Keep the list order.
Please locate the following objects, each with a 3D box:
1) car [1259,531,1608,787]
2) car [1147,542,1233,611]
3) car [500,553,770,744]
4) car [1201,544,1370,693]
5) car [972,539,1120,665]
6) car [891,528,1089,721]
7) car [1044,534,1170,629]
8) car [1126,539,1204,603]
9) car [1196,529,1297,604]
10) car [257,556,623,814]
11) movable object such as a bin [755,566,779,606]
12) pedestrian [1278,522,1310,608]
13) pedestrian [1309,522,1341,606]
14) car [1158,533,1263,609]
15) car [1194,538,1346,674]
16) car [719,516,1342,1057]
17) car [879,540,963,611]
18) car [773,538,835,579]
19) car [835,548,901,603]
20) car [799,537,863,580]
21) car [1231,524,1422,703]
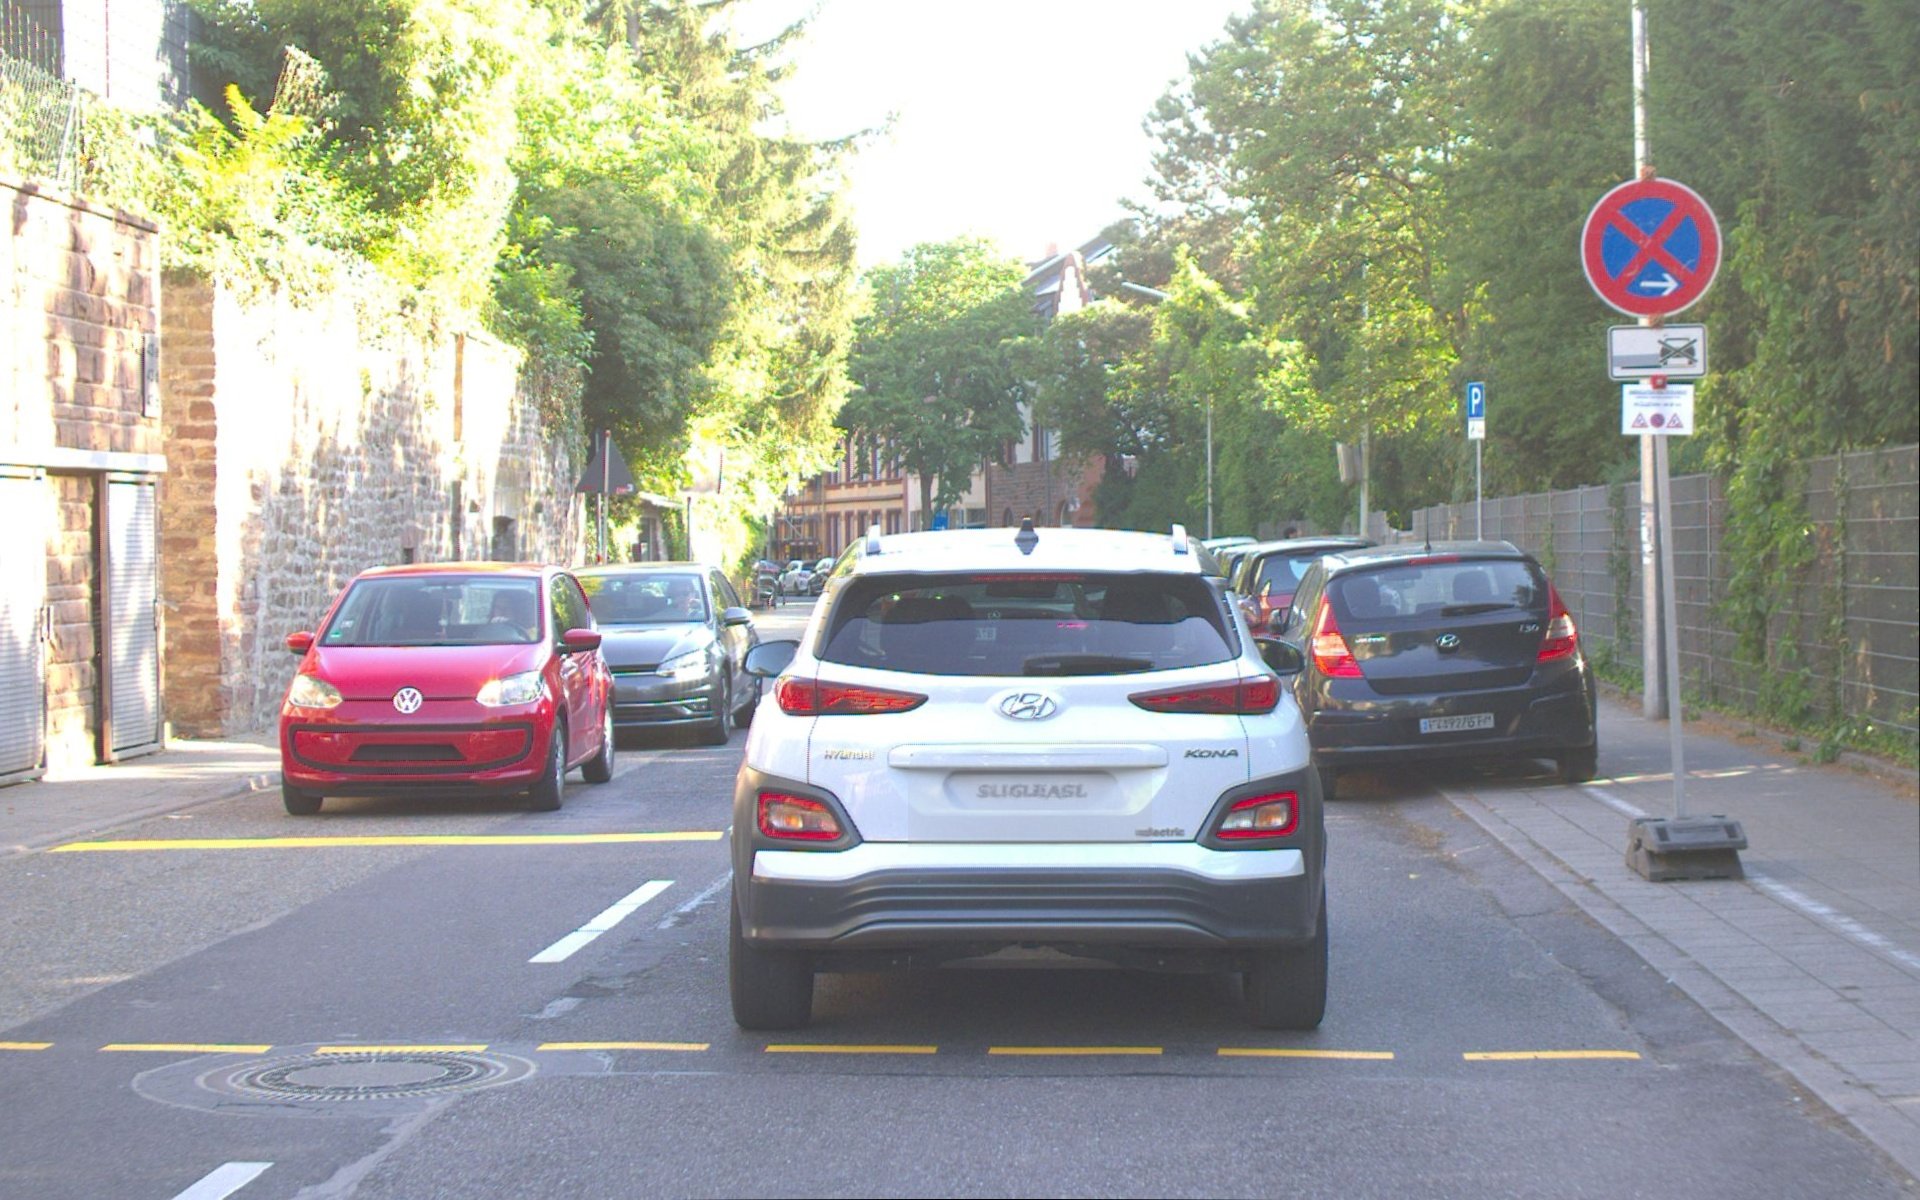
[{"bbox_3d":[2.872,0.303,21.597,1.794,1.436,4.000,-1,1,3],"label":"car"},{"bbox_3d":[5.379,-0.551,80.803,1.593,1.514,3.933,-3,0,-1],"label":"car"},{"bbox_3d":[-2.556,0.342,27.851,1.649,1.406,3.930,-1,1,2],"label":"car"},{"bbox_3d":[3.574,0.153,37.969,1.711,1.492,4.813,1,1,5],"label":"car"},{"bbox_3d":[1.094,-0.007,42.368,1.571,1.472,3.547,1,1,5],"label":"car"},{"bbox_3d":[0.305,0.164,29.322,1.512,1.528,3.547,-1,1,3],"label":"car"},{"bbox_3d":[2.494,-0.342,57.695,1.694,1.528,3.880,0,1,9],"label":"car"},{"bbox_3d":[5.133,-0.740,86.416,1.593,1.484,3.602,-3,1,-1],"label":"car"},{"bbox_3d":[5.862,-0.704,70.695,1.686,1.426,4.000,-3,1,0],"label":"car"},{"bbox_3d":[-3.100,0.456,21.127,1.627,1.417,3.563,-1,1,1],"label":"car"},{"bbox_3d":[-4.974,-0.362,88.684,0.495,1.008,1.112,1,0,3],"label":"movable object such as a bin"},{"bbox_3d":[6.329,-0.665,65.104,0.503,1.601,0.491,-3,0,3],"label":"pedestrian"},{"bbox_3d":[6.900,-0.681,65.028,0.503,1.564,0.503,-3,0,3],"label":"pedestrian"},{"bbox_3d":[5.486,-0.629,75.769,1.593,1.560,4.001,-3,0,-5],"label":"car"},{"bbox_3d":[3.760,0.047,42.066,1.625,1.504,2.903,-3,1,2],"label":"car"},{"bbox_3d":[0.194,0.507,11.800,1.772,1.537,4.000,0,1,0],"label":"car"},{"bbox_3d":[-0.834,-0.549,75.125,1.550,1.461,3.568,-2,1,3],"label":"car"},{"bbox_3d":[-6.471,-1.710,141.864,1.755,1.611,4.001,1,1,-14],"label":"car"},{"bbox_3d":[-2.708,-0.705,100.042,1.741,1.469,4.000,-4,0,-3],"label":"car"},{"bbox_3d":[-5.155,-1.662,136.968,1.755,1.611,4.001,1,1,-14],"label":"car"},{"bbox_3d":[3.346,0.108,31.664,1.653,1.559,2.872,-1,0,5],"label":"car"}]
